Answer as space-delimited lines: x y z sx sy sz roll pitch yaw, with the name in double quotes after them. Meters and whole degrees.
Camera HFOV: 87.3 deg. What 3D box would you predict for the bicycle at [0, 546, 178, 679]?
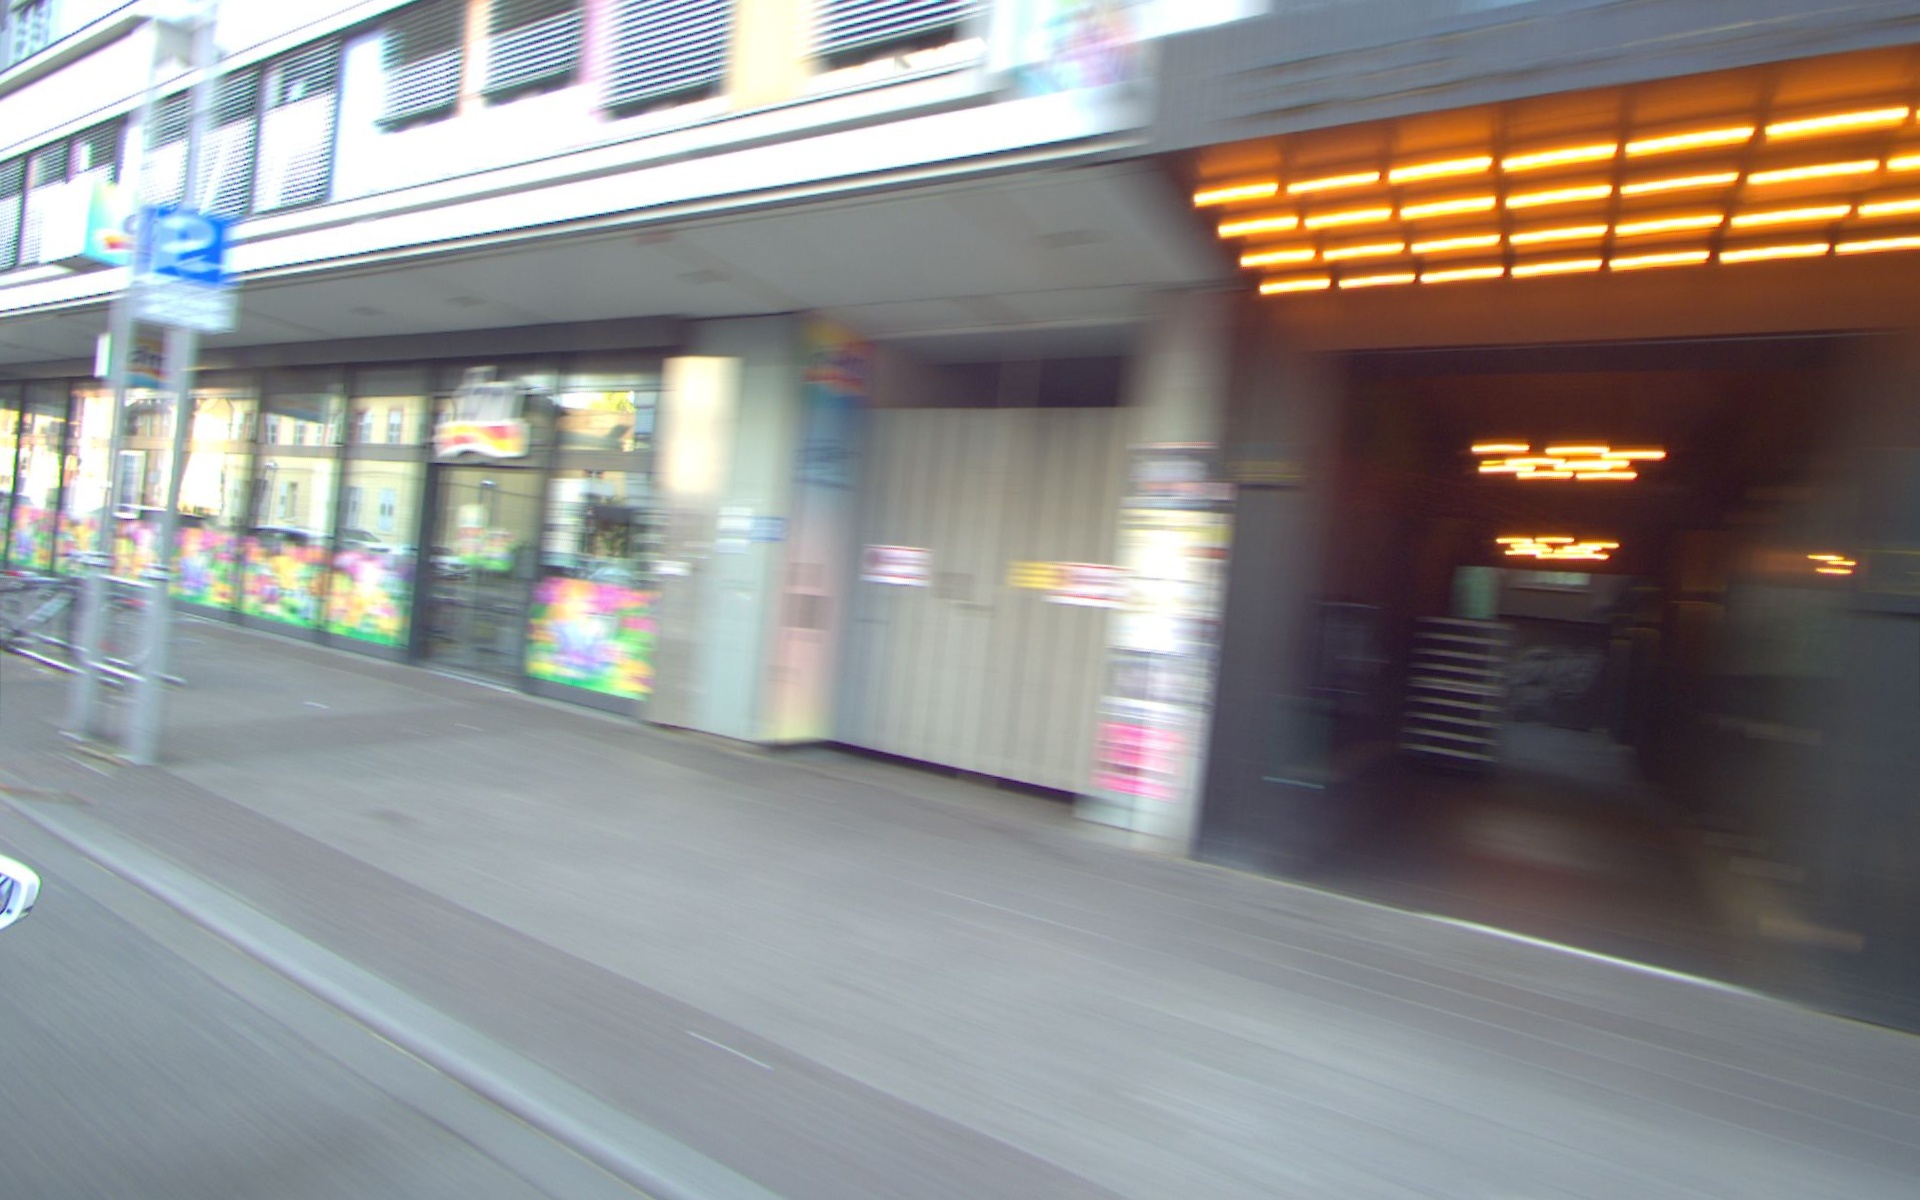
-7.403 0.091 7.968 0.566 0.985 1.796 7 2 28 "bicycle"
